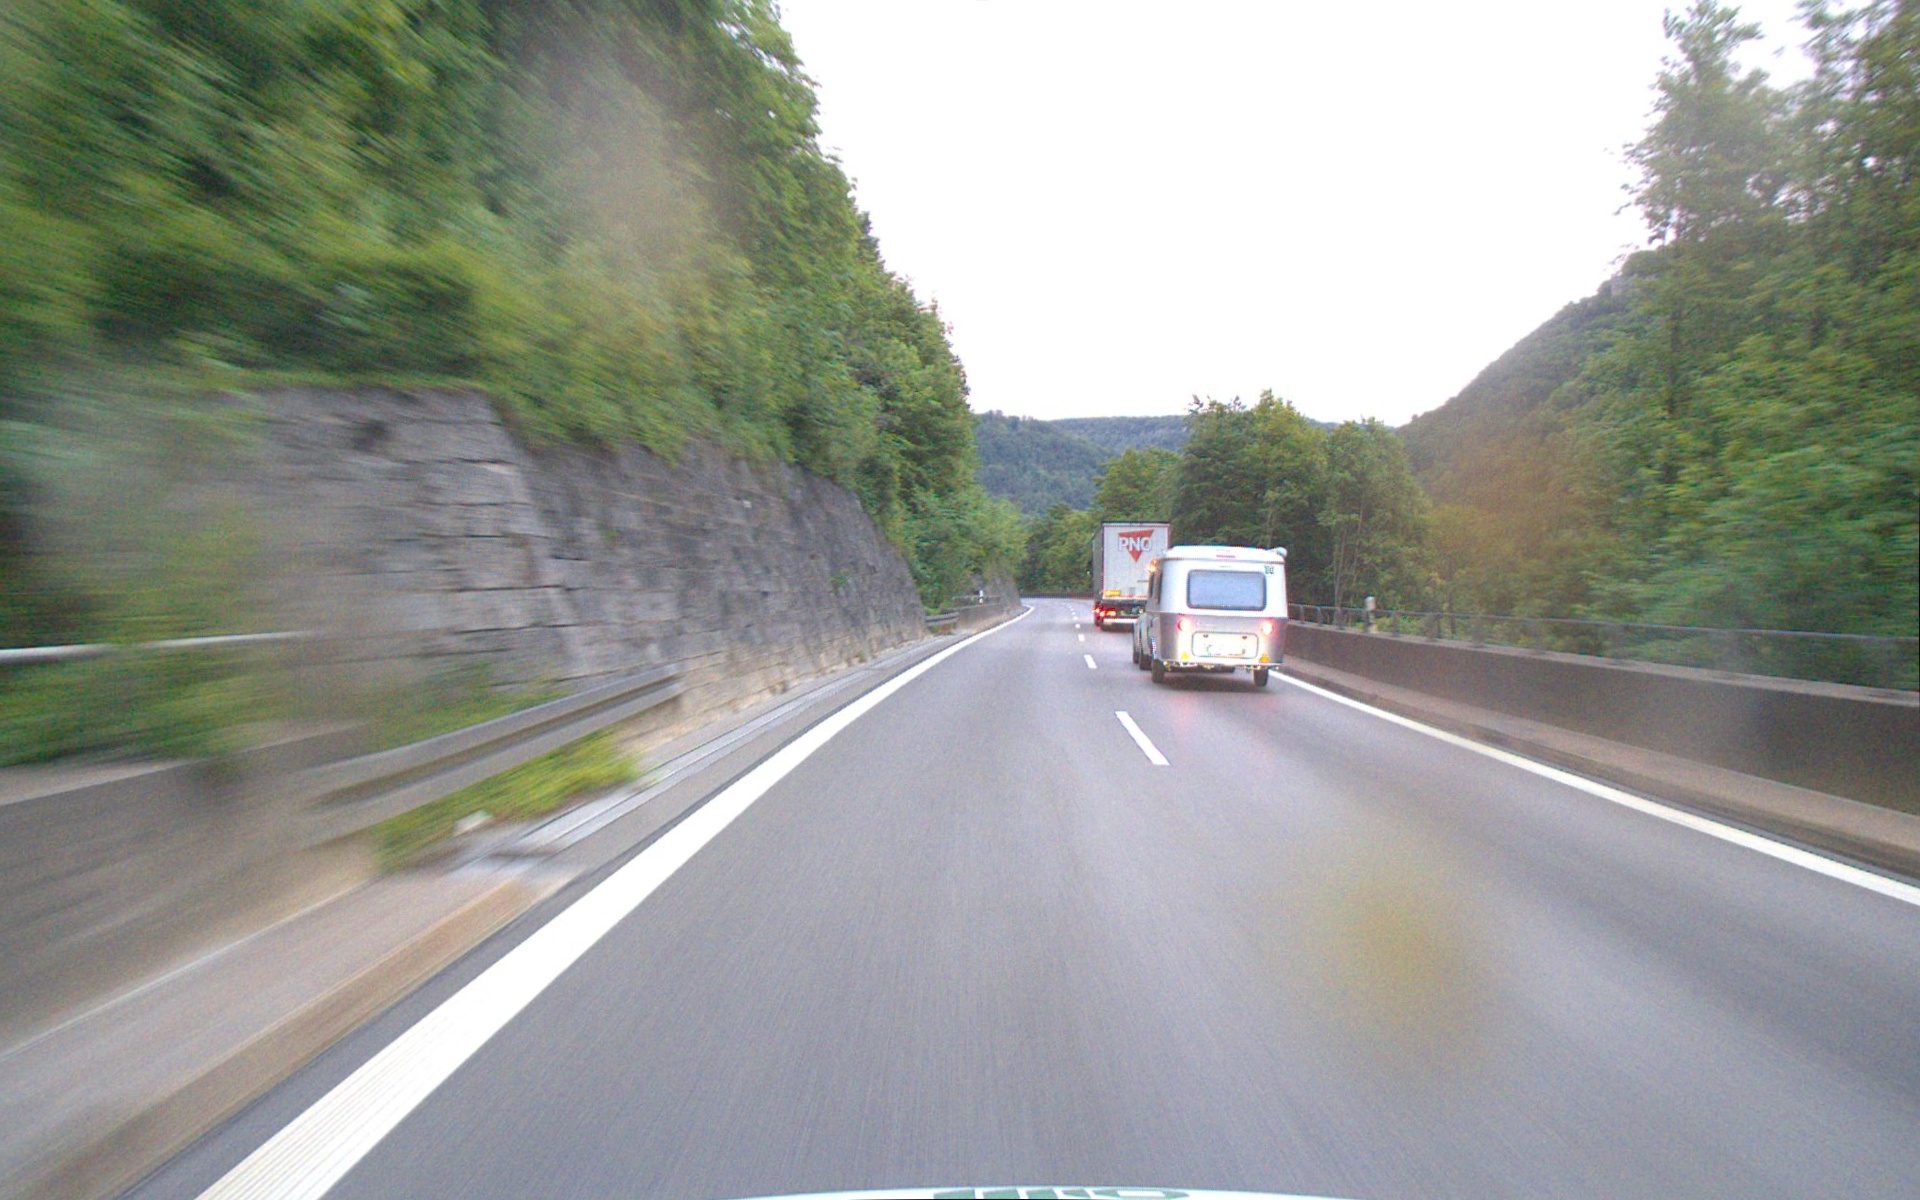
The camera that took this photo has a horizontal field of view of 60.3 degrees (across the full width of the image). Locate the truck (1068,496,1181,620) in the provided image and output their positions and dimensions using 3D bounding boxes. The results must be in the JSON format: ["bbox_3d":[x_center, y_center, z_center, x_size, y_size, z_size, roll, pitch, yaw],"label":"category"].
[{"bbox_3d":[6.488,-1.512,68.075,3.227,4.245,16.506,-4,0,2],"label":"truck"}]

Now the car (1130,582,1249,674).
[{"bbox_3d":[4.559,0.529,33.466,1.952,1.642,4.867,2,0,3],"label":"car"}]

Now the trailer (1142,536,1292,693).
[{"bbox_3d":[4.286,0.200,28.486,2.011,2.416,5.941,0,0,3],"label":"trailer"}]
